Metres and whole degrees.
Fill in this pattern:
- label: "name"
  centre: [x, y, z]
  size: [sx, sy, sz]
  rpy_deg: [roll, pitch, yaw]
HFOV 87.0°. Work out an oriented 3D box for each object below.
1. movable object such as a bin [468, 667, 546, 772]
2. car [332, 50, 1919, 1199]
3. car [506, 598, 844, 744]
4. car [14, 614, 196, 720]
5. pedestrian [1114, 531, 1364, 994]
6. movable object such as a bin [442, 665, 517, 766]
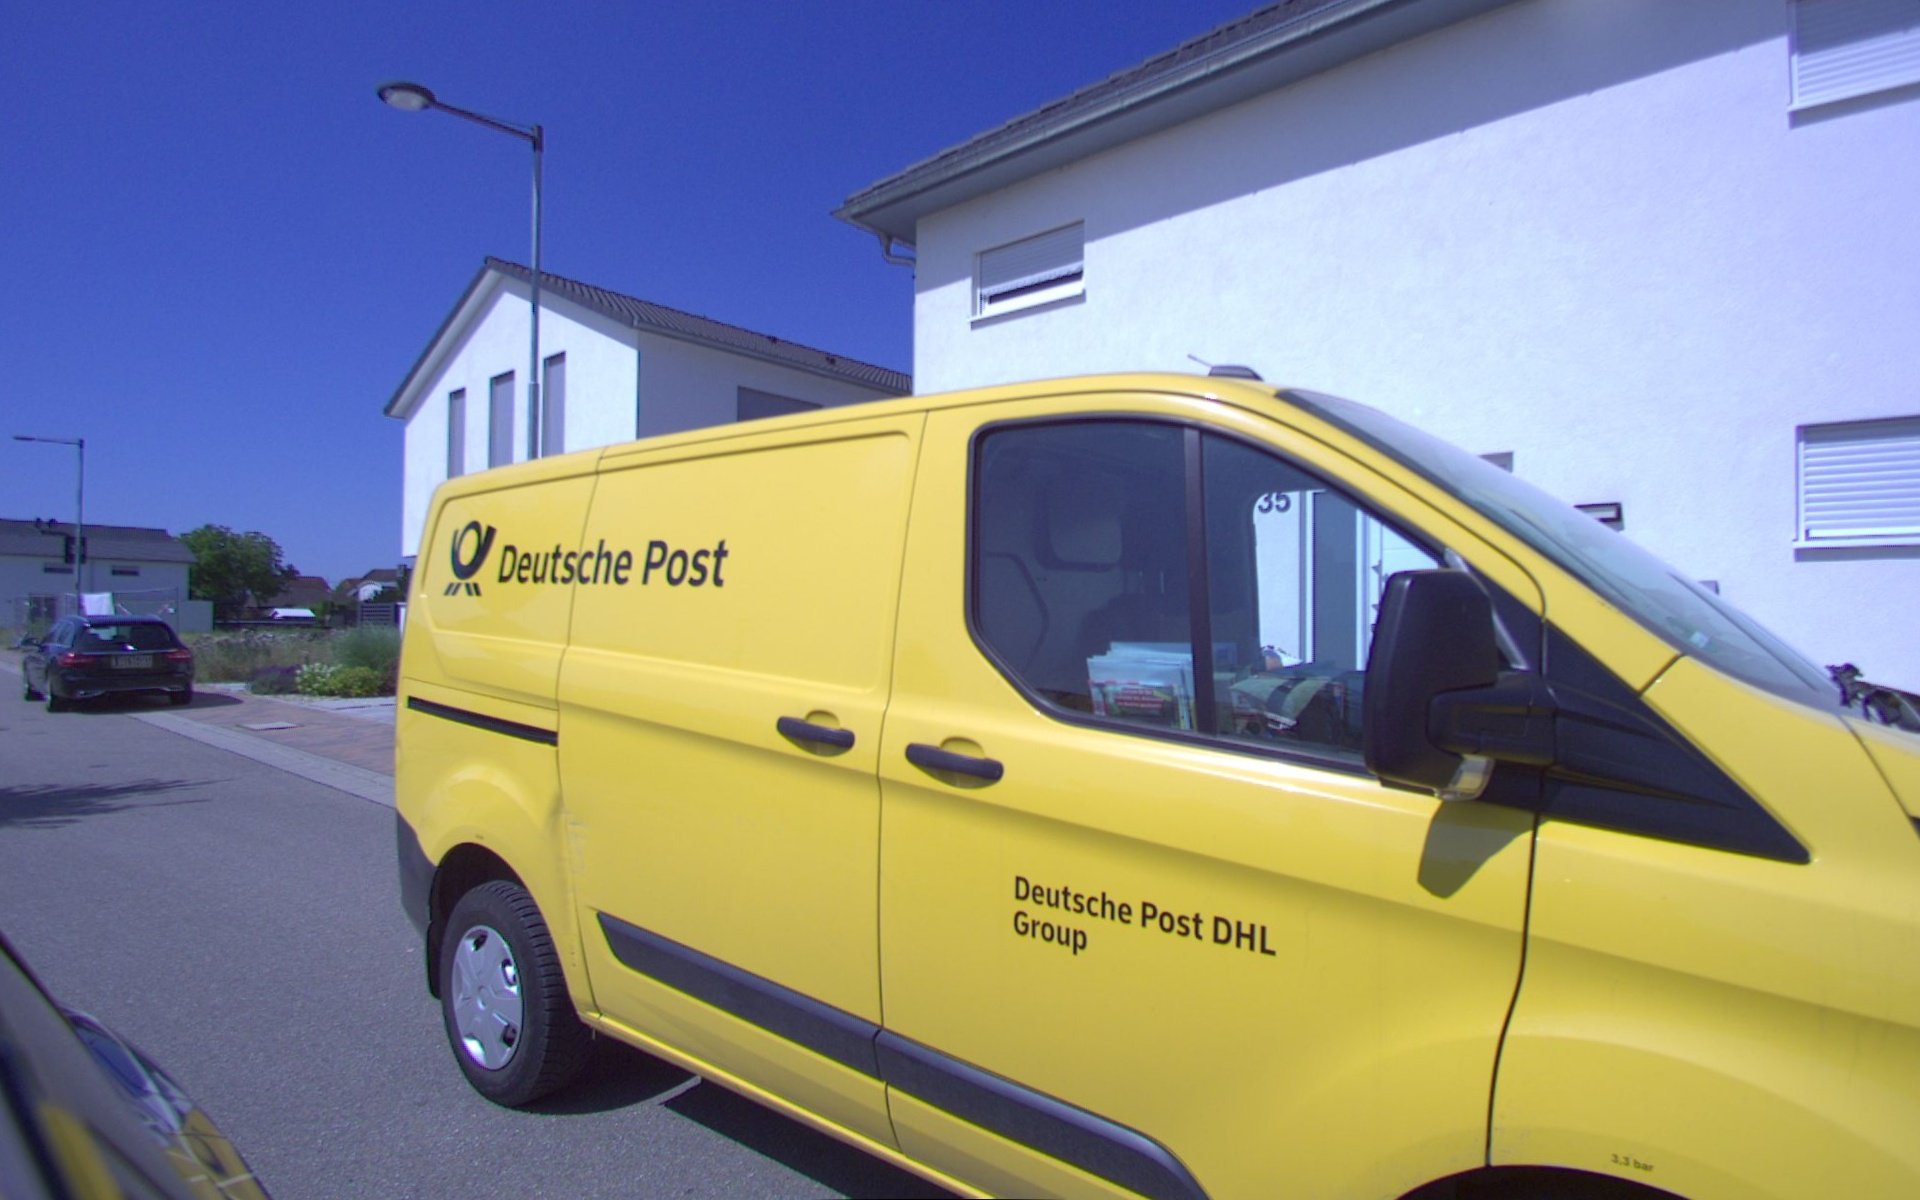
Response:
- label: "movable object such as a bin"
  centre: [-4.307, 1.120, 9.627]
  size: [0.530, 0.932, 0.481]
  rpy_deg: [-1, -2, 39]
- label: "car"
  centre: [0.327, 0.466, 2.743]
  size: [4.833, 2.029, 1.866]
  rpy_deg: [-1, -1, 37]
- label: "car"
  centre: [-3.645, 0.813, 13.307]
  size: [3.906, 1.631, 1.796]
  rpy_deg: [0, -1, -41]
- label: "car"
  centre: [-14.013, 0.988, 16.490]
  size: [4.443, 1.484, 1.673]
  rpy_deg: [-1, -1, 42]
- label: "pedestrian"
  centre: [1.173, 0.591, 4.213]
  size: [0.918, 1.698, 0.538]
  rpy_deg: [-1, 0, -39]
- label: "movable object such as a bin"
  centre: [-4.732, 1.120, 9.970]
  size: [0.530, 0.932, 0.481]
  rpy_deg: [-1, -2, 39]
